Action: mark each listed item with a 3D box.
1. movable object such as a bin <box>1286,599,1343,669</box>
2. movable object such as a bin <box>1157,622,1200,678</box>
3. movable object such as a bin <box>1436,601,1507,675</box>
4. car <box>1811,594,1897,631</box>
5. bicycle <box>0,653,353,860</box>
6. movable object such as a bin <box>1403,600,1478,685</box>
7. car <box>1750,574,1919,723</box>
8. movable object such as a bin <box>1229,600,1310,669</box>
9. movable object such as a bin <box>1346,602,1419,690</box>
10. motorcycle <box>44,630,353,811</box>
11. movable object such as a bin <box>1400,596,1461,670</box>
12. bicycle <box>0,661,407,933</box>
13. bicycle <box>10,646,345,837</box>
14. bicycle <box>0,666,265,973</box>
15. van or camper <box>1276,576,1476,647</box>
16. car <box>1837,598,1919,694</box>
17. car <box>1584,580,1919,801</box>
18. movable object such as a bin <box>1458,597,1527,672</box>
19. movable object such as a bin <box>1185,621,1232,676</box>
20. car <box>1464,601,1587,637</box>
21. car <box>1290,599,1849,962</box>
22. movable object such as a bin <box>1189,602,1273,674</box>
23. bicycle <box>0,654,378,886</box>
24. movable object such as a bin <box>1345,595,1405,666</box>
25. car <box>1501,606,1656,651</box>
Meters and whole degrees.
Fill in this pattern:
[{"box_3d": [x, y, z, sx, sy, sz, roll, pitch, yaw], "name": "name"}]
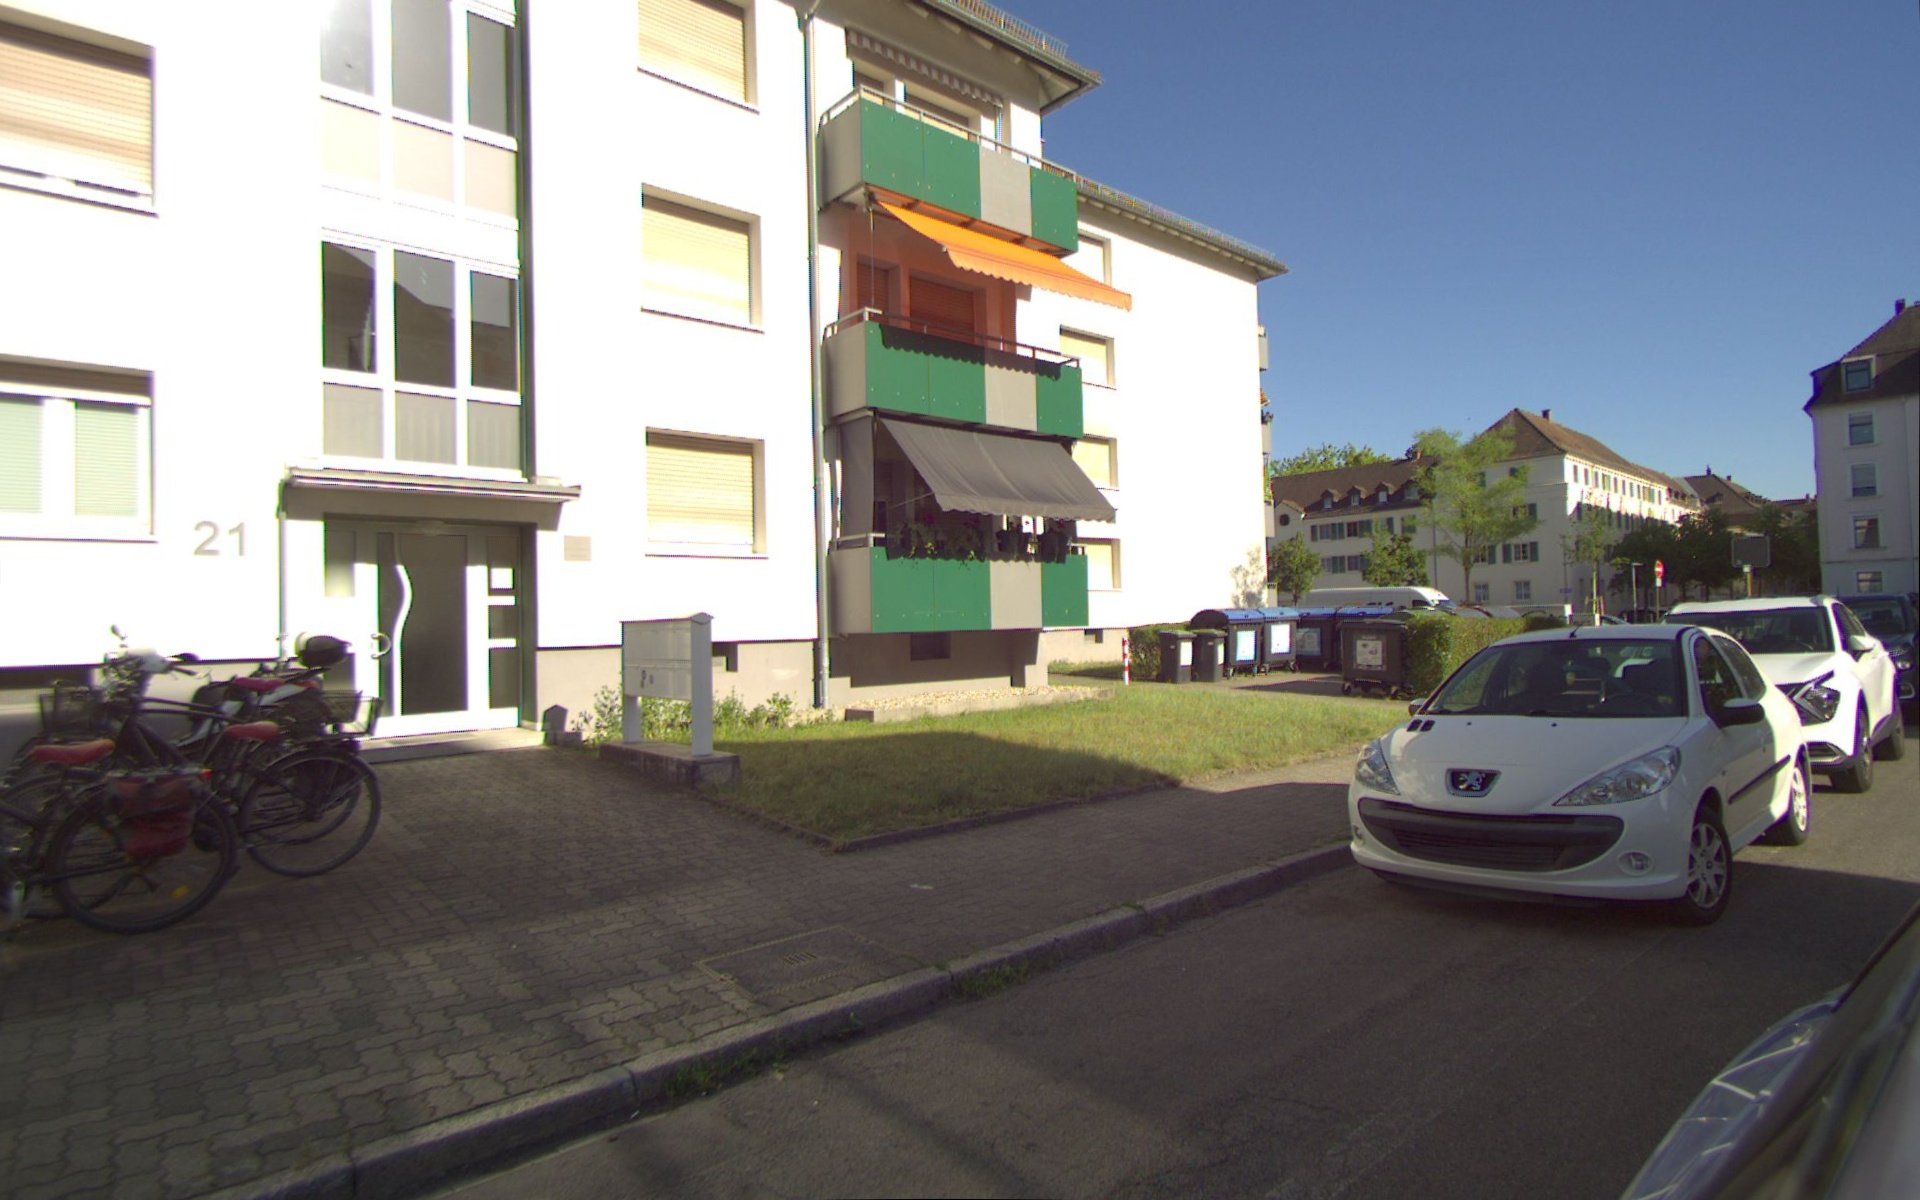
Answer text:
[{"box_3d": [7.988, 0.756, 22.801, 0.906, 1.539, 0.865, 0, -1, -42], "name": "movable object such as a bin"}, {"box_3d": [4.390, 0.989, 20.326, 0.570, 1.066, 0.627, 0, 1, -43], "name": "movable object such as a bin"}, {"box_3d": [9.522, 0.695, 18.847, 0.852, 1.342, 0.920, 0, -2, -42], "name": "movable object such as a bin"}, {"box_3d": [36.879, 0.511, 41.838, 1.656, 1.459, 3.767, -1, -1, 26], "name": "car"}, {"box_3d": [-5.102, 0.952, 6.656, 1.840, 1.096, 0.539, 0, 1, -42], "name": "bicycle"}, {"box_3d": [8.578, 0.746, 18.070, 0.852, 1.466, 0.920, 0, -2, -42], "name": "movable object such as a bin"}, {"box_3d": [12.926, 0.649, 14.359, 4.181, 1.824, 1.852, 0, -5, -42], "name": "car"}, {"box_3d": [6.853, 0.747, 22.387, 1.257, 1.466, 1.237, 0, -1, -43], "name": "movable object such as a bin"}, {"box_3d": [7.284, 0.775, 17.456, 0.907, 1.466, 0.864, 0, -1, -45], "name": "movable object such as a bin"}, {"box_3d": [-6.038, 0.893, 8.133, 1.942, 1.254, 0.442, 0, -1, -41], "name": "motorcycle"}, {"box_3d": [9.682, 0.659, 20.832, 0.907, 1.466, 0.864, 0, -1, -45], "name": "movable object such as a bin"}, {"box_3d": [-4.030, 0.952, 5.373, 1.840, 1.147, 0.578, 0, 0, -42], "name": "bicycle"}, {"box_3d": [-5.527, 0.933, 7.252, 1.840, 1.130, 0.597, 0, -1, -42], "name": "bicycle"}, {"box_3d": [-4.124, 0.934, 4.345, 1.839, 1.185, 0.545, 0, 0, -40], "name": "bicycle"}, {"box_3d": [15.944, 0.464, 39.289, 2.137, 2.532, 6.978, 0, -1, -38], "name": "van or camper"}, {"box_3d": [17.081, 0.743, 17.998, 3.885, 1.557, 1.725, 0, -4, -43], "name": "car"}, {"box_3d": [7.709, 0.693, 9.564, 4.503, 1.613, 1.802, 0, -3, -42], "name": "car"}, {"box_3d": [10.349, 0.661, 19.664, 0.852, 1.416, 0.920, 0, -2, -42], "name": "movable object such as a bin"}, {"box_3d": [5.060, 0.979, 20.620, 0.570, 1.066, 0.717, 0, 1, -43], "name": "movable object such as a bin"}, {"box_3d": [22.536, 0.743, 40.452, 1.494, 1.367, 3.995, 0, -1, -39], "name": "car"}, {"box_3d": [3.860, 0.789, 6.099, 4.027, 1.437, 1.692, 0, -4, -42], "name": "car"}, {"box_3d": [5.764, 0.793, 21.531, 1.257, 1.466, 1.237, 0, -1, -43], "name": "movable object such as a bin"}, {"box_3d": [-4.620, 0.943, 6.125, 1.840, 1.135, 0.544, 0, -1, -42], "name": "bicycle"}, {"box_3d": [8.855, 0.639, 21.584, 0.907, 1.466, 0.864, 0, -1, -45], "name": "movable object such as a bin"}, {"box_3d": [20.264, 0.921, 33.288, 1.769, 1.367, 3.995, 0, -1, -39], "name": "car"}]
